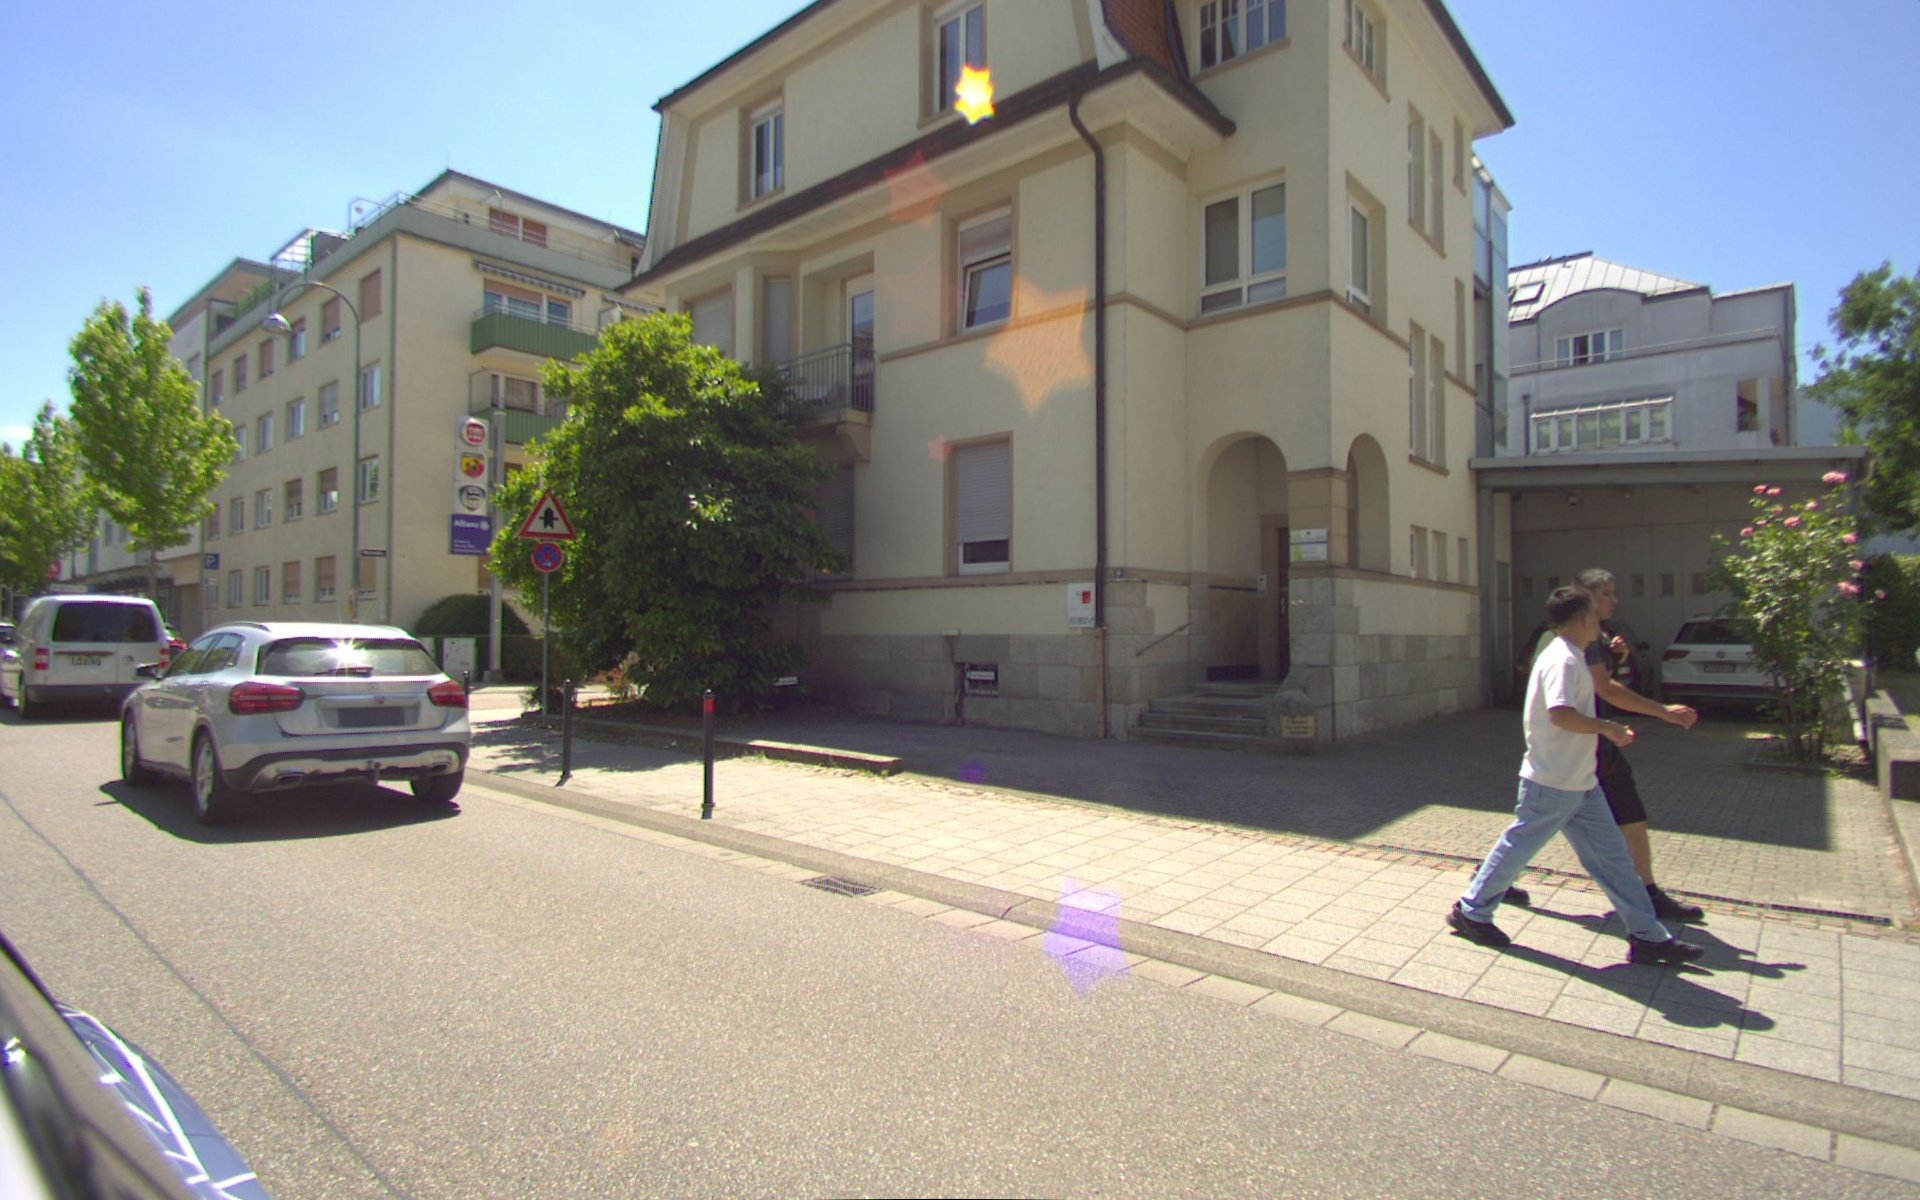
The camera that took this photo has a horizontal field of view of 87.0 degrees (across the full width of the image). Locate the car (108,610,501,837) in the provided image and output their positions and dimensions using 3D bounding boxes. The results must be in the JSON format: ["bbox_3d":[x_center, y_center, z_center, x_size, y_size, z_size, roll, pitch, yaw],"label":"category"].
[{"bbox_3d":[-5.830,0.896,8.816,4.029,1.522,1.810,-1,-3,41],"label":"car"}]

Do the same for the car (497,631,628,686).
[{"bbox_3d":[-11.682,1.669,29.716,3.740,1.519,1.731,-1,-2,33],"label":"car"}]

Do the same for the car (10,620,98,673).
[{"bbox_3d":[-30.640,1.532,34.190,4.292,1.683,1.709,-1,-1,41],"label":"car"}]

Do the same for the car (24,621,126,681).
[{"bbox_3d":[-26.847,1.492,30.661,4.291,1.683,1.709,-1,-1,40],"label":"car"}]

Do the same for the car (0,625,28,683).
[{"bbox_3d":[-26.844,1.436,27.527,4.292,1.520,1.709,-1,-2,41],"label":"car"}]

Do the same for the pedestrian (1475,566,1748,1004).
[{"bbox_3d":[2.847,0.716,4.436,0.903,1.689,0.614,-1,0,41],"label":"pedestrian"}]

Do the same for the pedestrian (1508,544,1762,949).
[{"bbox_3d":[3.374,0.658,5.070,0.950,1.784,0.740,-2,-2,41],"label":"pedestrian"}]

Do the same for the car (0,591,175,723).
[{"bbox_3d":[-14.120,0.870,16.145,4.230,1.840,1.684,-1,-4,41],"label":"car"}]

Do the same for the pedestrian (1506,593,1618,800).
[{"bbox_3d":[5.179,0.801,8.713,0.734,1.687,0.534,-2,-3,41],"label":"pedestrian"}]

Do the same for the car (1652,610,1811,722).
[{"bbox_3d":[12.569,1.009,16.405,1.793,1.592,3.827,-1,-3,41],"label":"car"}]

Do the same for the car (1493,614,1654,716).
[{"bbox_3d":[10.886,1.090,17.854,1.793,1.592,3.826,-1,-3,41],"label":"car"}]
